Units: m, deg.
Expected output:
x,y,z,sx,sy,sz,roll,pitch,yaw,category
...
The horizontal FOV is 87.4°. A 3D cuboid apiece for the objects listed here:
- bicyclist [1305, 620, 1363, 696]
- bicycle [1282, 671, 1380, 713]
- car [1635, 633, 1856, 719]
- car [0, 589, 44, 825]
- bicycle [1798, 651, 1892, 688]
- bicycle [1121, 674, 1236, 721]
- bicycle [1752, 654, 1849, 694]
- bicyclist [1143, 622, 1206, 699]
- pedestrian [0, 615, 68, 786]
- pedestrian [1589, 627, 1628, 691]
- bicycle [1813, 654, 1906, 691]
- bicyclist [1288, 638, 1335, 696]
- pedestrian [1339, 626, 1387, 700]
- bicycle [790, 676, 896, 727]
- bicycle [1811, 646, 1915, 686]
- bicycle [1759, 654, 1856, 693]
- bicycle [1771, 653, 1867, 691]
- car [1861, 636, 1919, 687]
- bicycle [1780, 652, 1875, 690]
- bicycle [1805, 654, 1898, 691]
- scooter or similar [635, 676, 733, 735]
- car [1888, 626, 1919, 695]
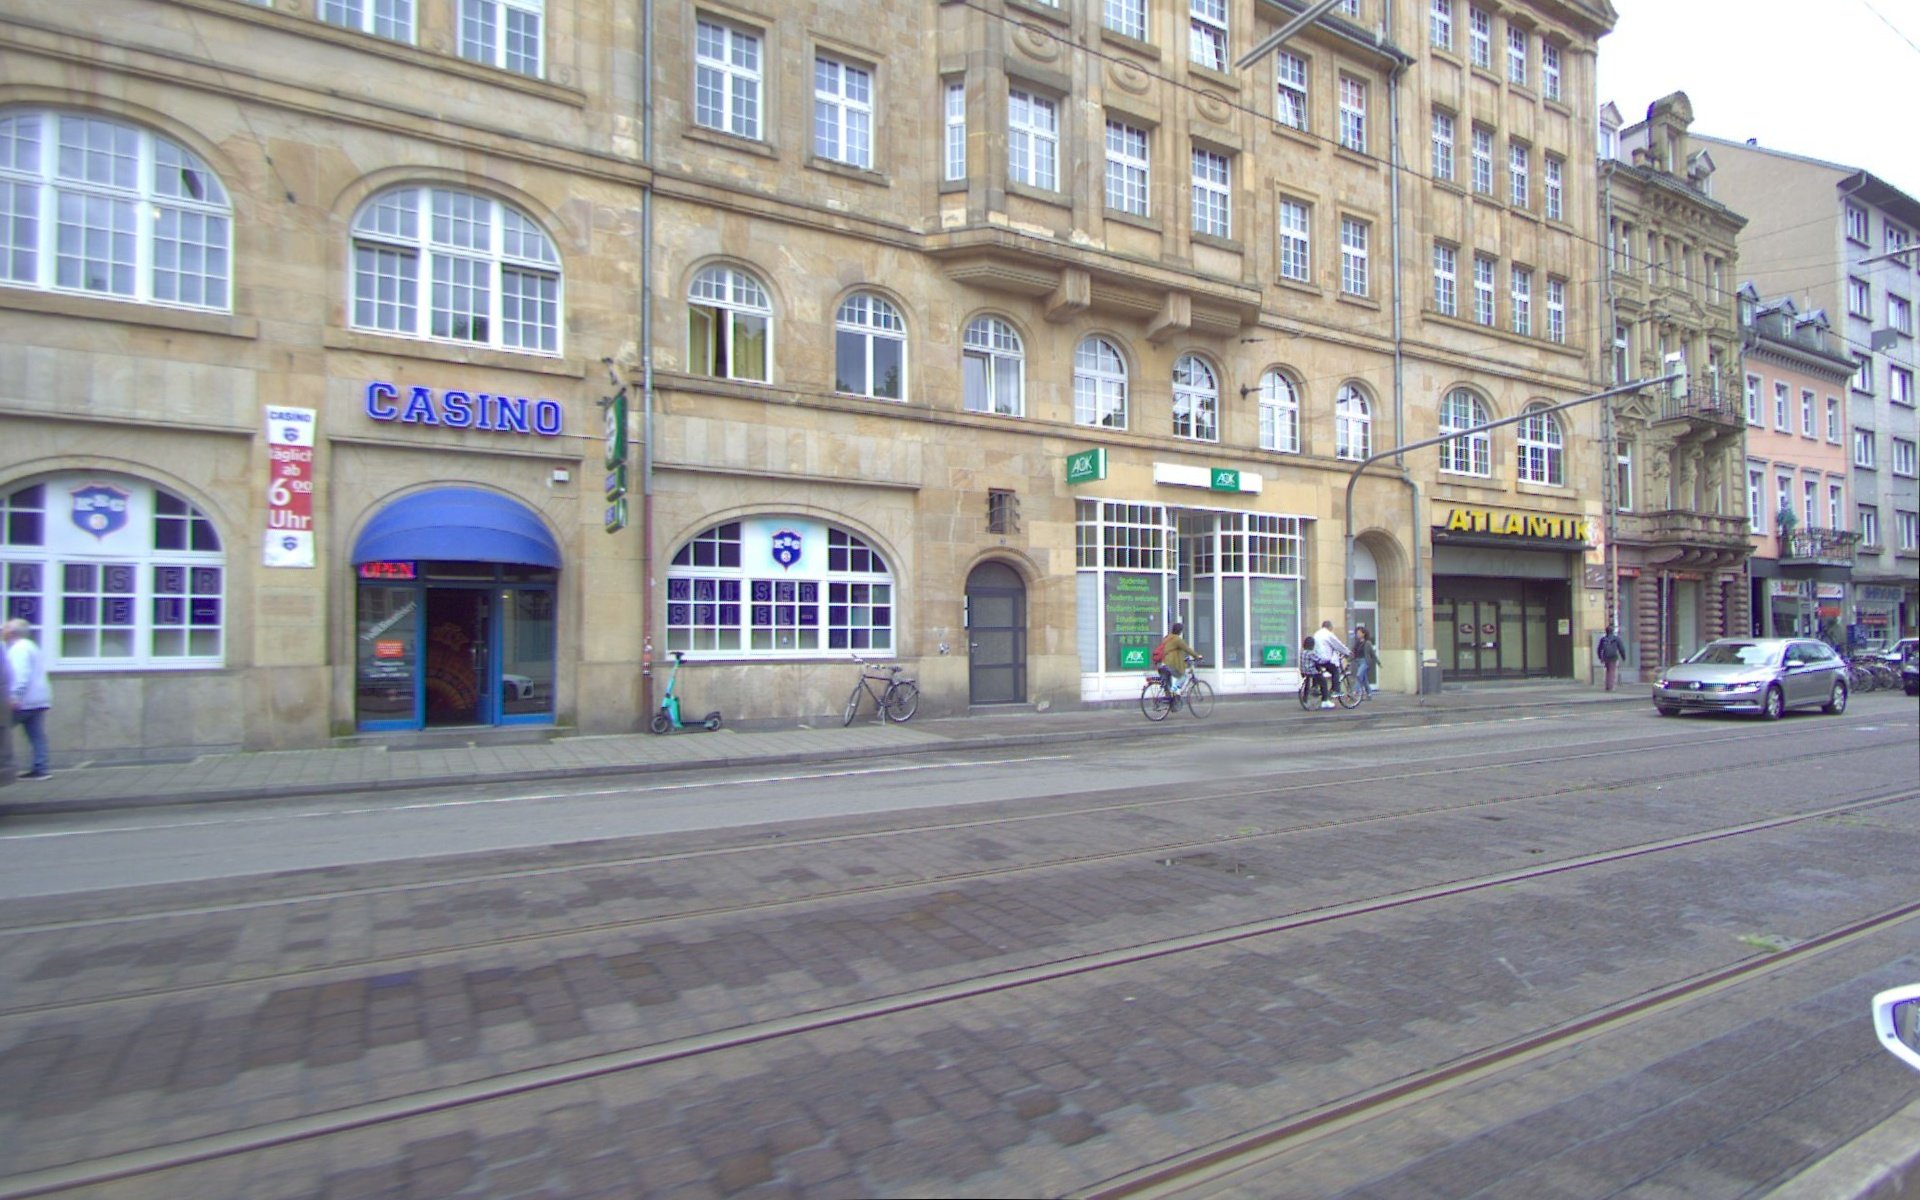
x,y,z,sx,sy,sz,roll,pitch,yaw,category
7.570,1.164,20.331,0.960,1.507,0.608,1,-2,-30,bicyclist
7.492,1.835,20.266,2.224,0.755,0.579,1,-2,-31,bicycle
15.001,1.380,19.128,4.560,1.468,1.751,1,-3,-30,car
-10.430,0.888,7.433,5.038,2.002,1.890,1,-5,-31,car
25.239,1.967,28.679,0.459,1.014,1.952,1,-3,-37,bicycle
3.959,1.737,18.124,2.224,0.755,0.579,1,-2,-31,bicycle
22.667,1.983,27.131,0.459,1.014,1.952,1,-3,-37,bicycle
3.865,1.074,18.092,0.960,1.341,0.608,1,-2,-30,bicyclist
-9.871,1.045,10.638,0.518,1.750,0.594,1,-2,-33,pedestrian
16.873,1.528,26.139,0.710,1.619,0.565,1,-2,-30,pedestrian
26.206,2.098,29.300,0.459,1.014,1.952,1,-3,-37,bicycle
6.983,1.320,19.976,0.652,1.132,0.608,1,-2,-30,bicyclist
9.082,1.409,22.626,0.733,1.634,0.682,1,-2,-30,pedestrian
-1.949,1.674,16.779,1.686,0.755,0.579,1,-2,-30,bicycle
26.712,1.923,29.765,0.499,1.141,2.215,1,-3,-37,bicycle
23.229,1.987,27.563,0.459,1.014,1.952,1,-3,-37,bicycle
23.742,1.969,27.802,0.459,1.014,1.952,1,-3,-37,bicycle
30.297,1.901,31.517,4.350,1.524,1.767,1,-3,-31,car
24.391,1.987,28.272,0.459,1.014,1.952,1,-3,-37,bicycle
25.707,2.082,28.991,0.459,1.014,1.952,1,-3,-37,bicycle
-4.205,1.589,15.318,1.330,0.813,0.579,1,-2,-30,scooter or similar
25.748,1.516,25.630,4.560,1.693,1.751,1,-3,-30,car
